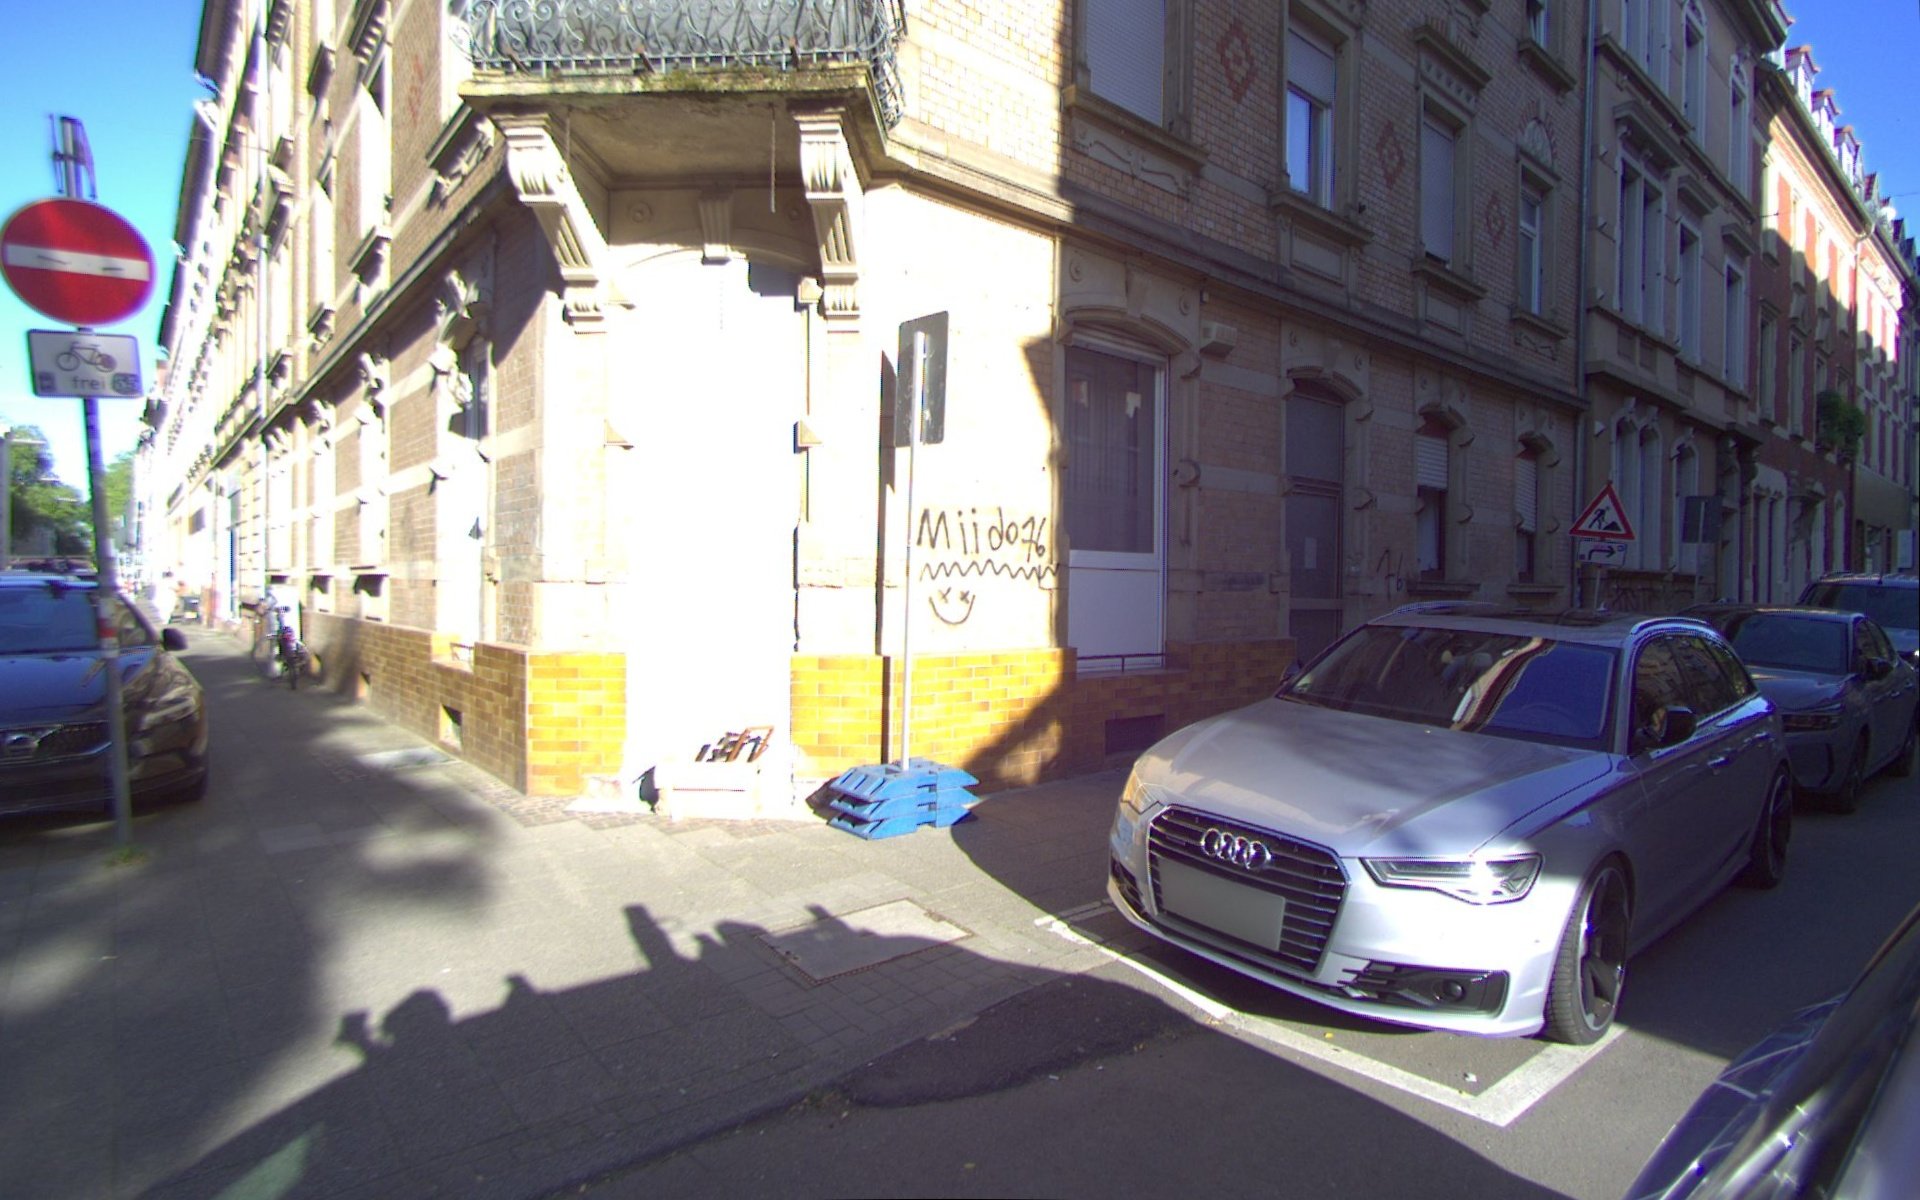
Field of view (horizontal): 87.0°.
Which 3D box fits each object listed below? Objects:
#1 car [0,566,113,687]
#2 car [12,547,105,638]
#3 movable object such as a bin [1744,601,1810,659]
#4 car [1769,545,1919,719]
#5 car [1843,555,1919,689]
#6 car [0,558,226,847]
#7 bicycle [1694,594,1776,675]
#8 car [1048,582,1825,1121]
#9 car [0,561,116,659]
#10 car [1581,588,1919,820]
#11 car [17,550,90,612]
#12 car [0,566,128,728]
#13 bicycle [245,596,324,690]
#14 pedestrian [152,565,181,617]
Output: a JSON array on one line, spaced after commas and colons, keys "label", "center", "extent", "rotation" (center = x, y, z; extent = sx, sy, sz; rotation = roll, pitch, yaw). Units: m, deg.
[{"label": "car", "center": [-13.029, 0.282, 14.219], "extent": [1.704, 1.488, 3.995], "rotation": [0, 1, -40]}, {"label": "car", "center": [-21.536, -0.218, 24.273], "extent": [1.510, 1.997, 4.024], "rotation": [0, 1, -40]}, {"label": "movable object such as a bin", "center": [16.515, 0.590, 20.457], "extent": [0.710, 1.074, 0.897], "rotation": [0, 4, -42]}, {"label": "car", "center": [12.240, 0.364, 13.271], "extent": [4.189, 1.986, 1.773], "rotation": [0, 0, -40]}, {"label": "car", "center": [16.420, 0.332, 16.897], "extent": [4.658, 2.039, 1.835], "rotation": [0, 0, -40]}, {"label": "car", "center": [-6.410, 0.467, 6.774], "extent": [4.242, 1.489, 1.741], "rotation": [2, 2, 44]}, {"label": "bicycle", "center": [13.696, 0.574, 17.867], "extent": [1.662, 1.319, 0.729], "rotation": [0, 4, -40]}, {"label": "car", "center": [2.594, 0.681, 4.879], "extent": [4.431, 1.477, 1.709], "rotation": [0, 0, -40]}, {"label": "car", "center": [-16.578, 0.115, 18.538], "extent": [1.704, 1.602, 3.995], "rotation": [0, 1, -40]}, {"label": "car", "center": [6.845, 0.680, 8.489], "extent": [3.818, 1.498, 1.670], "rotation": [0, 1, -40]}, {"label": "car", "center": [-27.807, -0.603, 31.120], "extent": [1.510, 1.771, 4.053], "rotation": [0, 1, -40]}, {"label": "car", "center": [-10.299, 0.407, 11.199], "extent": [1.562, 1.456, 3.995], "rotation": [-4, 5, -40]}, {"label": "bicycle", "center": [-8.768, 0.512, 13.105], "extent": [0.619, 1.073, 1.881], "rotation": [-2, 2, -40]}, {"label": "pedestrian", "center": [-24.885, -0.287, 31.739], "extent": [0.699, 1.586, 0.723], "rotation": [0, 1, -40]}]
